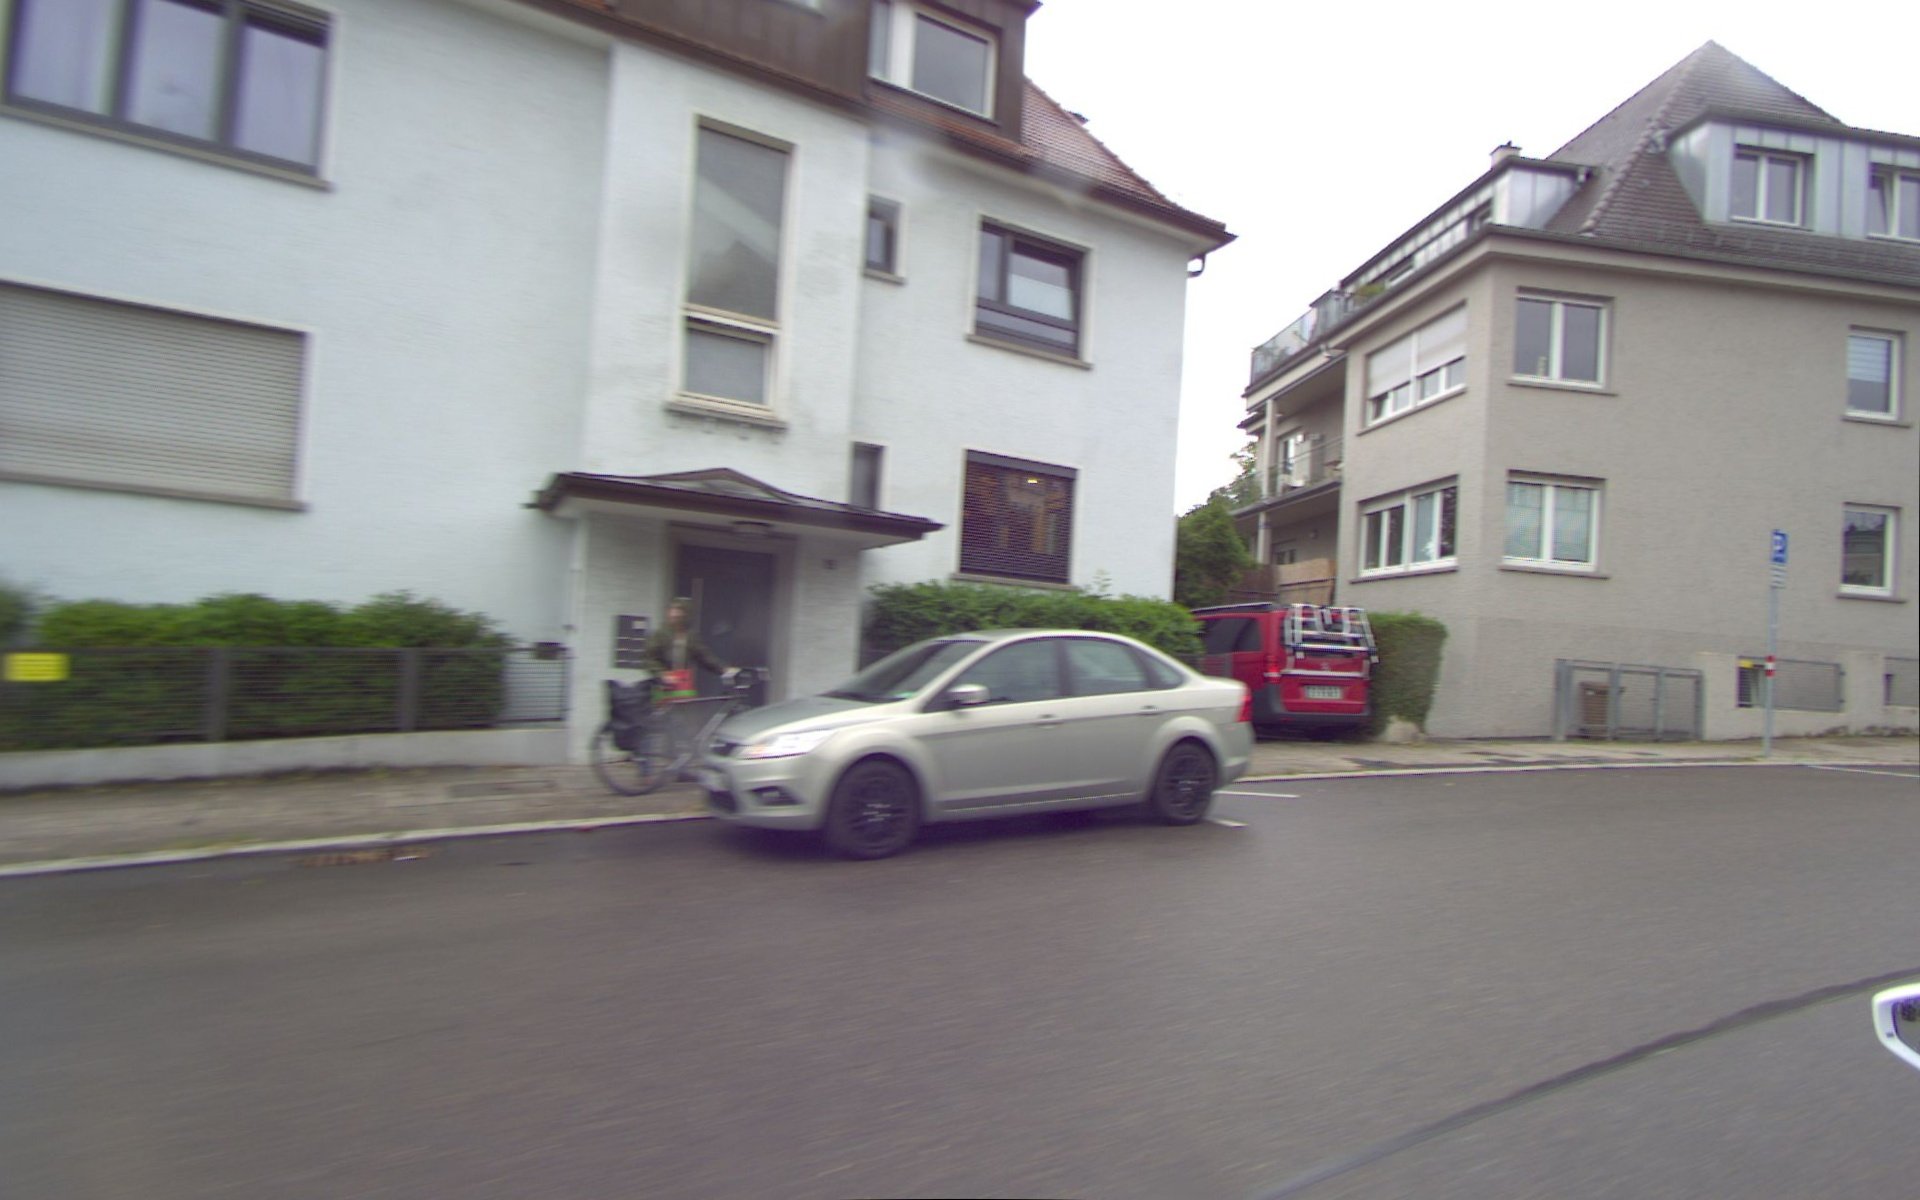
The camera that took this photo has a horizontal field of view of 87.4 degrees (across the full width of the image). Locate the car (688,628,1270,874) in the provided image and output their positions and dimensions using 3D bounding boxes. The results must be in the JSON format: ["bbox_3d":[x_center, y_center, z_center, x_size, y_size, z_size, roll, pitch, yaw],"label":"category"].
[{"bbox_3d":[0.220,0.961,7.774,4.179,1.444,1.828,2,-2,-30],"label":"car"}]

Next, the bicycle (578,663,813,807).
[{"bbox_3d":[-2.233,1.106,8.627,1.901,1.081,0.453,1,0,-33],"label":"bicycle"}]

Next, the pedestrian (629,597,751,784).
[{"bbox_3d":[-2.437,0.784,9.063,0.937,1.598,0.489,1,0,-33],"label":"pedestrian"}]

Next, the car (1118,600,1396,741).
[{"bbox_3d":[4.338,1.092,15.365,1.971,1.846,3.980,1,-5,-23],"label":"car"}]
